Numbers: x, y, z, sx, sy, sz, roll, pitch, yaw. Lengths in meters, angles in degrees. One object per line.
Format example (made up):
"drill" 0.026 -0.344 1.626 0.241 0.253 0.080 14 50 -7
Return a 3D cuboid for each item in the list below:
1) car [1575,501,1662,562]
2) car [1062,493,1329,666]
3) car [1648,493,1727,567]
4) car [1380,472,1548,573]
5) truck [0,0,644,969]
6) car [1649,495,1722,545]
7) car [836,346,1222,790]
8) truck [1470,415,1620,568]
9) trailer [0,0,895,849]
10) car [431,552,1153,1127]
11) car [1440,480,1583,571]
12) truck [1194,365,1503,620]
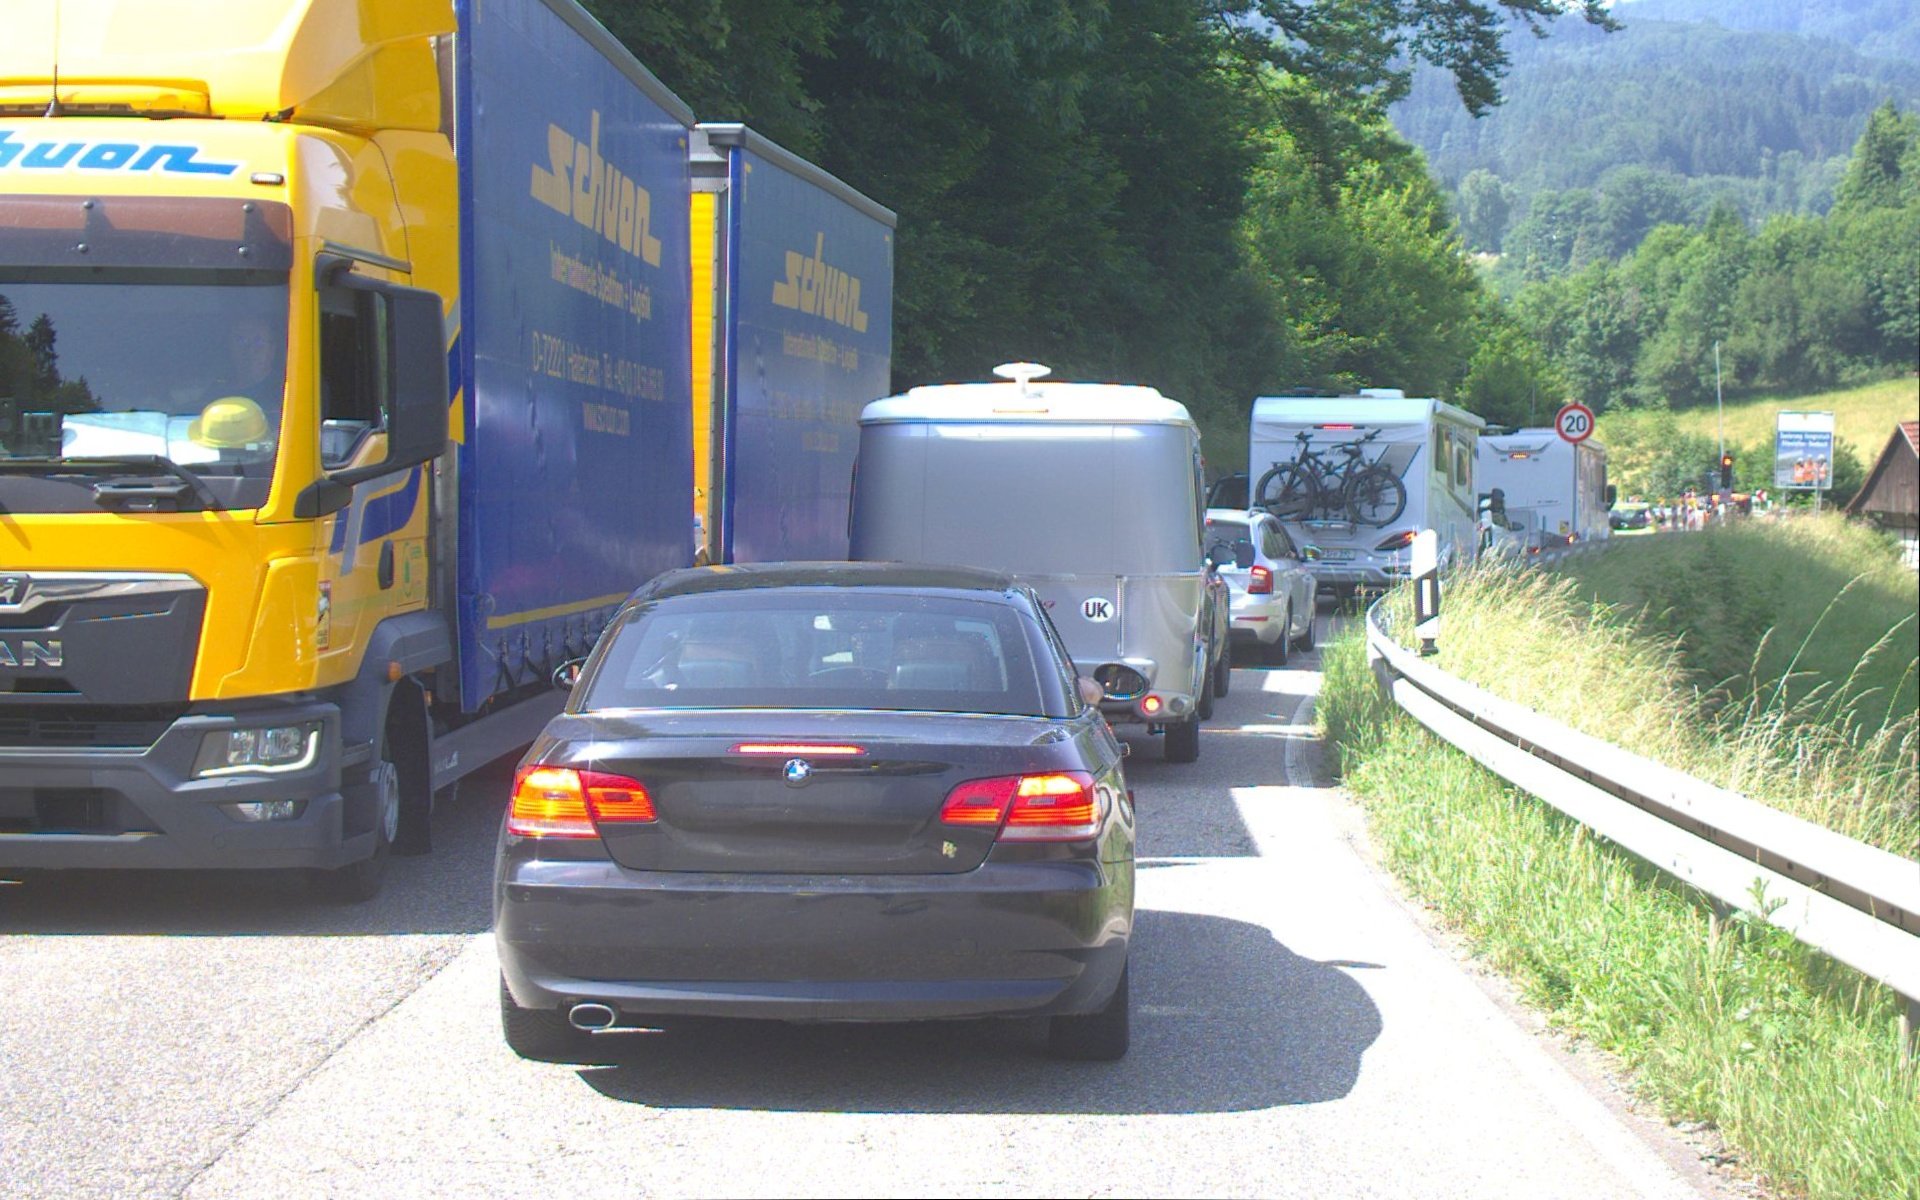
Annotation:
"car" 17.036 -1.746 88.868 1.908 1.481 3.997 2 1 15
"car" 2.327 -0.243 33.019 1.994 1.479 3.998 3 2 11
"car" 20.856 -1.986 98.467 1.995 1.919 3.998 4 1 13
"car" 8.098 -1.270 54.951 1.995 1.459 3.997 3 3 17
"truck" -3.569 -1.111 15.126 3.189 4.381 6.571 2 3 5
"car" 24.428 -2.682 115.649 1.995 1.570 3.997 2 1 18
"car" 0.548 -0.257 20.841 1.994 2.345 4.913 1 2 5
"truck" 11.430 -2.044 66.789 2.239 2.794 6.228 2 1 15
"trailer" -2.885 -1.437 22.758 3.260 4.402 15.314 1 2 5
"car" -0.337 0.562 10.365 1.771 1.331 3.767 1 2 3
"car" 9.736 -1.343 60.483 1.789 1.459 3.997 3 3 18
"truck" 5.249 -1.435 45.326 2.793 2.987 6.863 3 3 16
